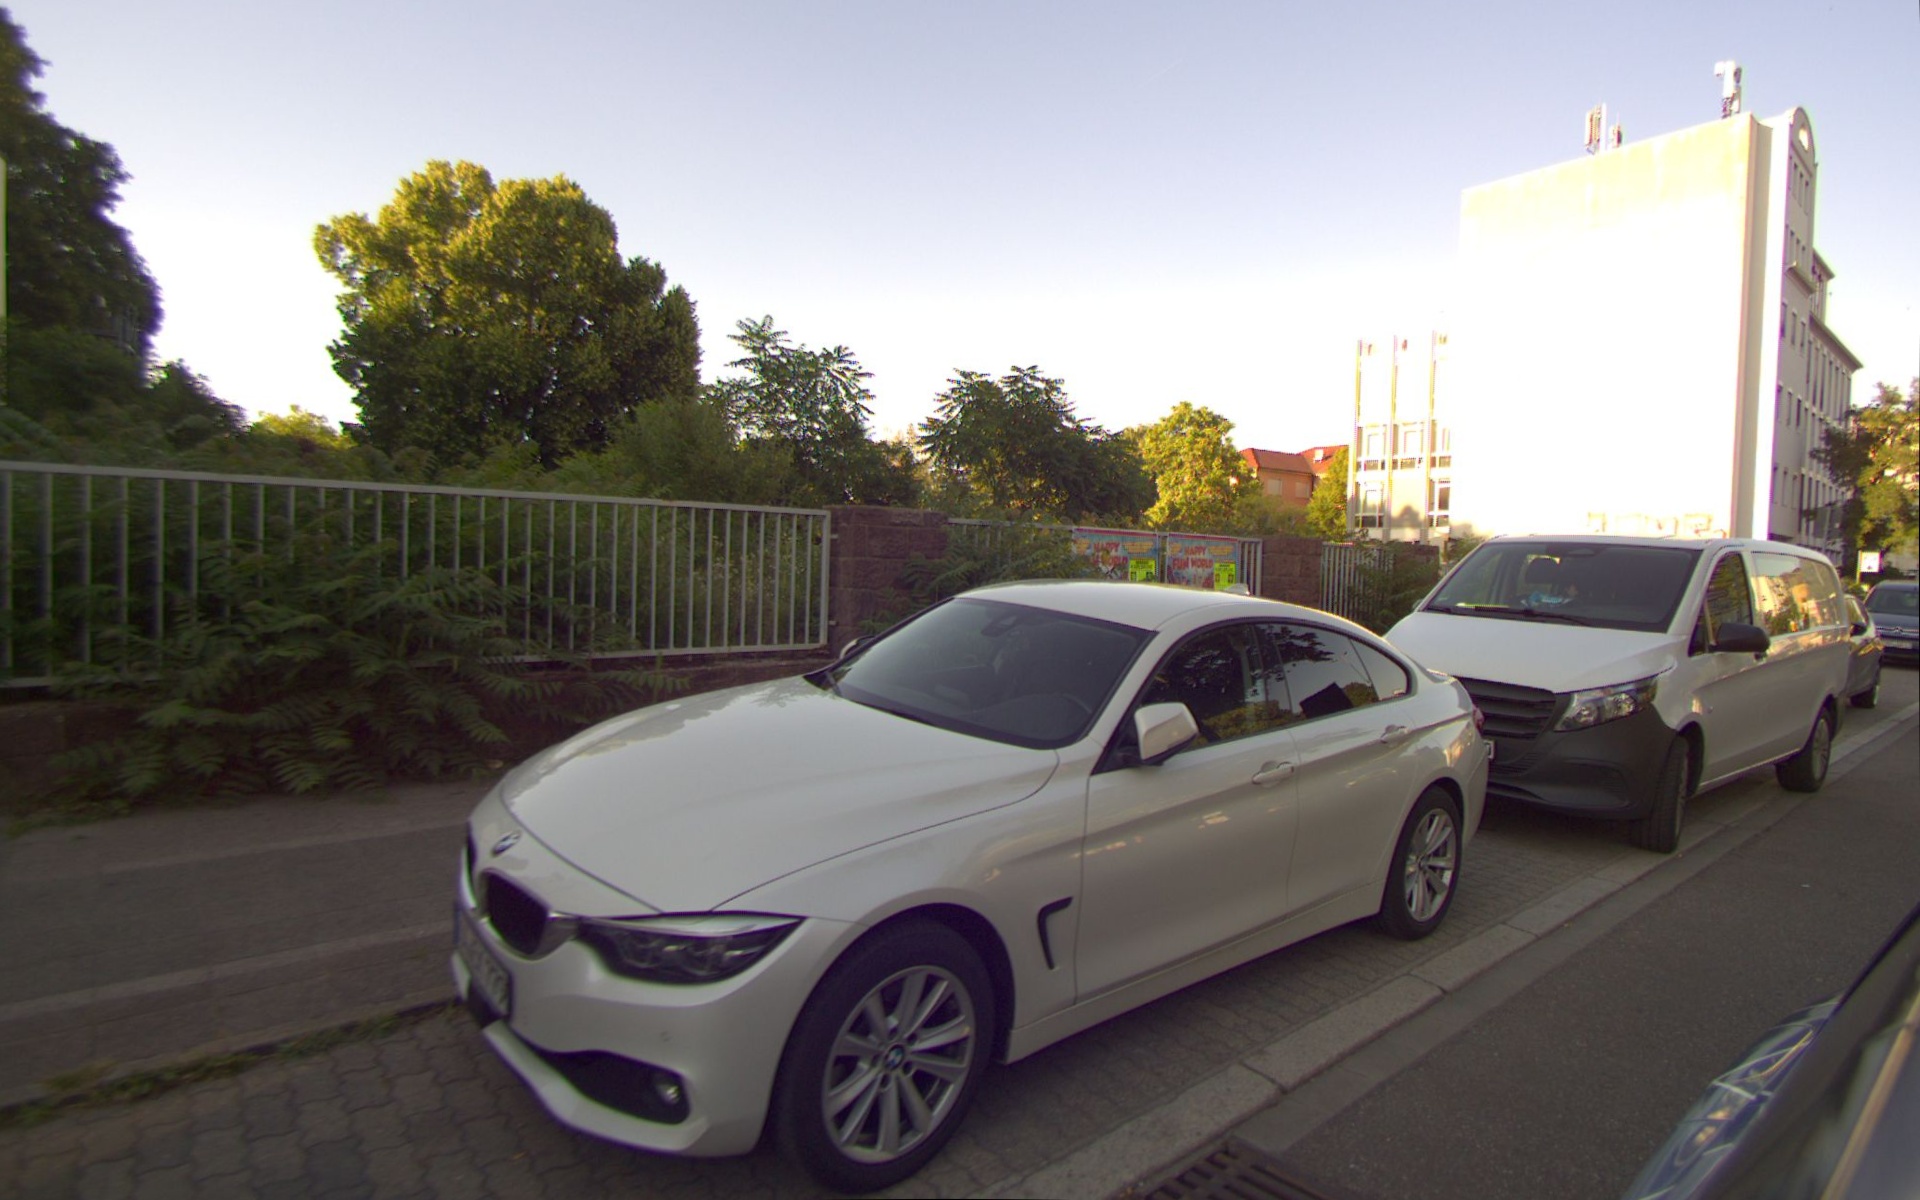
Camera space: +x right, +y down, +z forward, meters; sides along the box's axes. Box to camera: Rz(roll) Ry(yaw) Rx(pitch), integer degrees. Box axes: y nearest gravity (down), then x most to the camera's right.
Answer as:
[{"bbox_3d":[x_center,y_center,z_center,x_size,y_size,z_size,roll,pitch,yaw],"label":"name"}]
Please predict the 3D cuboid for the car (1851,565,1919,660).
[{"bbox_3d":[20.993,0.262,21.886,4.474,1.850,1.779,-1,5,-40],"label":"car"}]

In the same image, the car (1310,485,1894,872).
[{"bbox_3d":[4.925,0.308,7.412,5.085,1.941,1.894,0,6,-38],"label":"car"}]

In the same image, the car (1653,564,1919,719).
[{"bbox_3d":[10.875,0.415,13.213,4.419,1.593,1.779,0,5,-40],"label":"car"}]

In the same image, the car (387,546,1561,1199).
[{"bbox_3d":[0.496,0.599,3.990,4.560,1.401,1.733,-1,6,-40],"label":"car"}]
